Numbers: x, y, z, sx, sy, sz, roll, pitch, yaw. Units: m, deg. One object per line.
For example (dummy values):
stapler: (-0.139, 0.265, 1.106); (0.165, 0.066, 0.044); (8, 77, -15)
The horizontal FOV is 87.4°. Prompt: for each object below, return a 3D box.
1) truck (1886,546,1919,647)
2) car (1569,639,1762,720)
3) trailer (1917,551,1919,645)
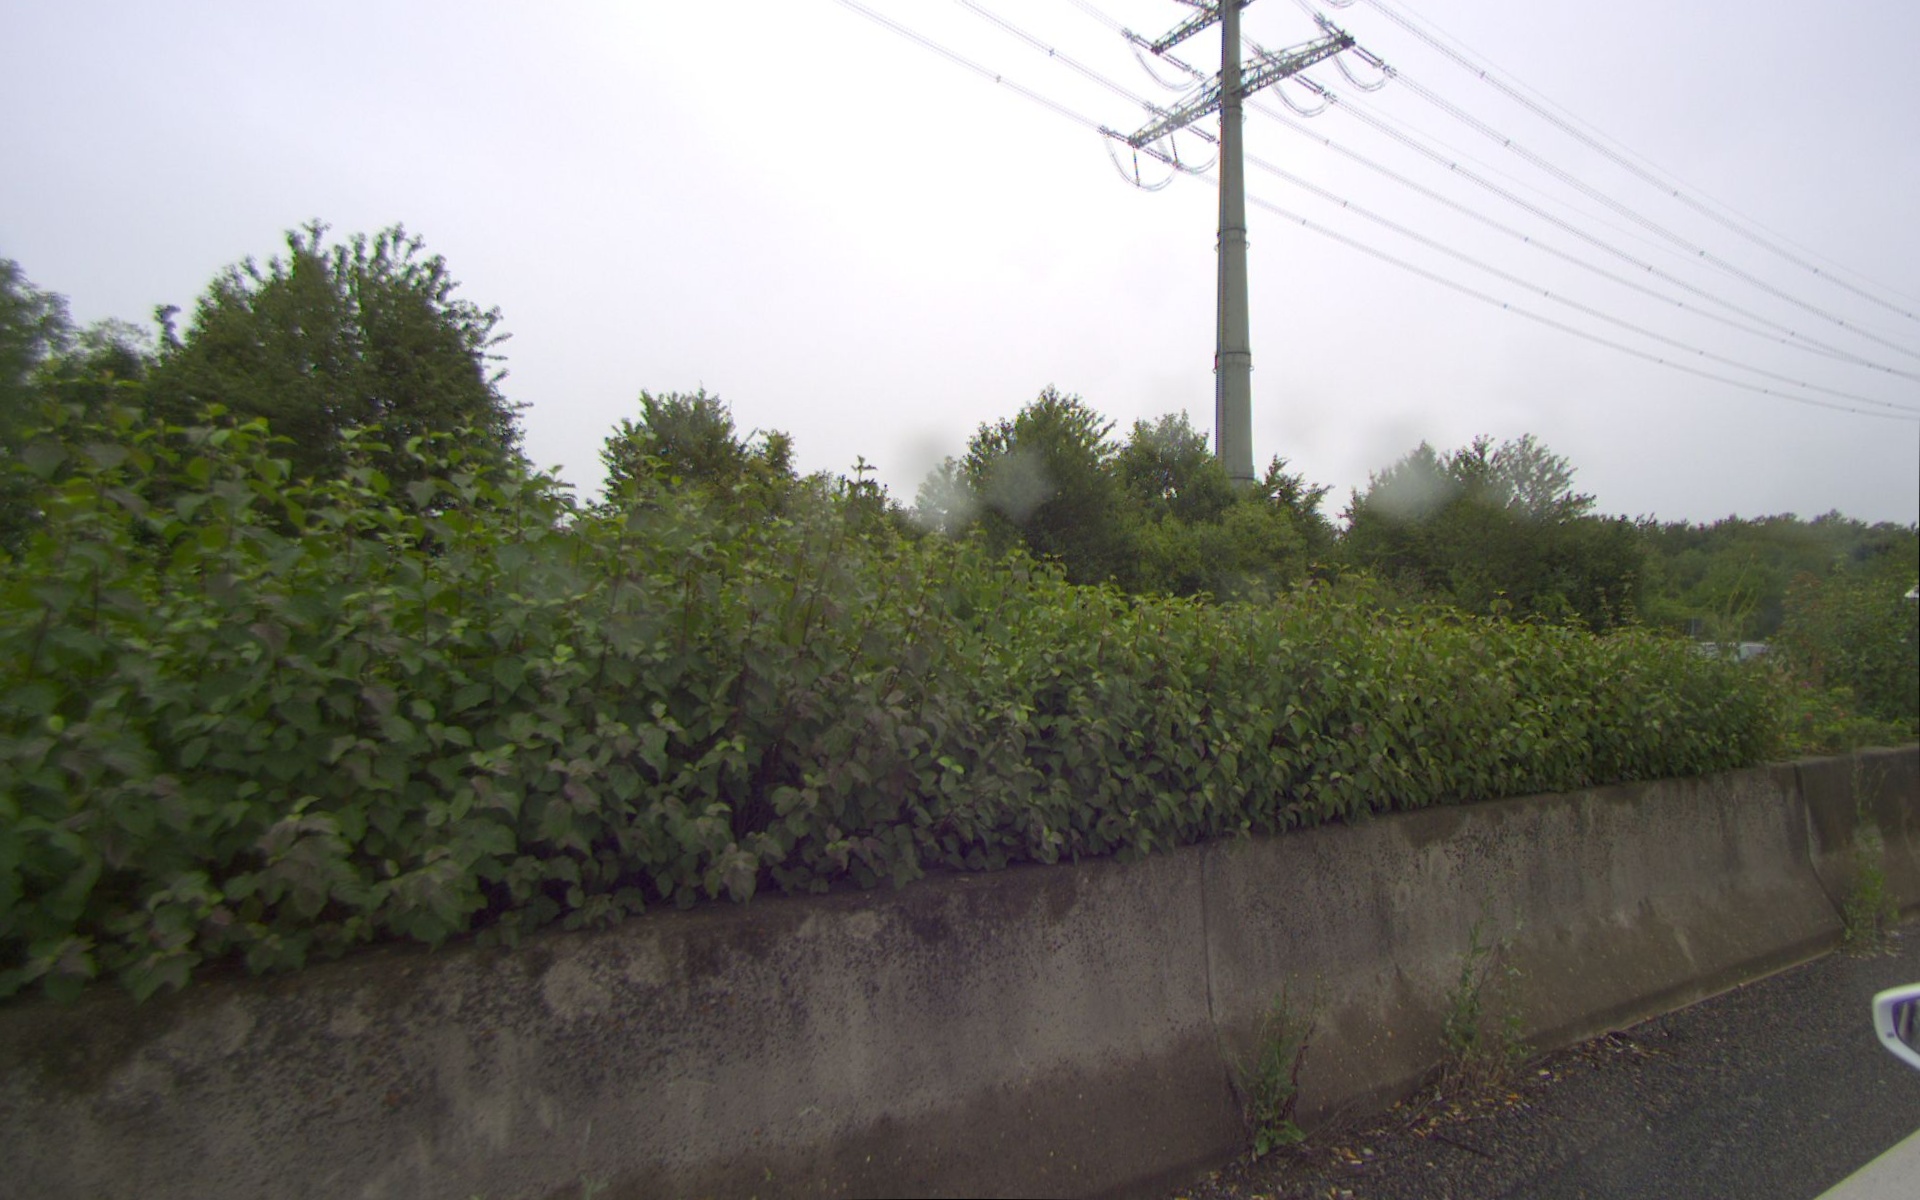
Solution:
truck: (41.951, -0.067, 42.038); (7.151, 4.076, 2.772); (1, -2, -31)
car: (15.315, 1.658, 21.788); (3.953, 1.547, 1.984); (1, -1, -31)
trailer: (47.602, 0.049, 45.505); (13.100, 4.076, 2.772); (1, -2, -31)
